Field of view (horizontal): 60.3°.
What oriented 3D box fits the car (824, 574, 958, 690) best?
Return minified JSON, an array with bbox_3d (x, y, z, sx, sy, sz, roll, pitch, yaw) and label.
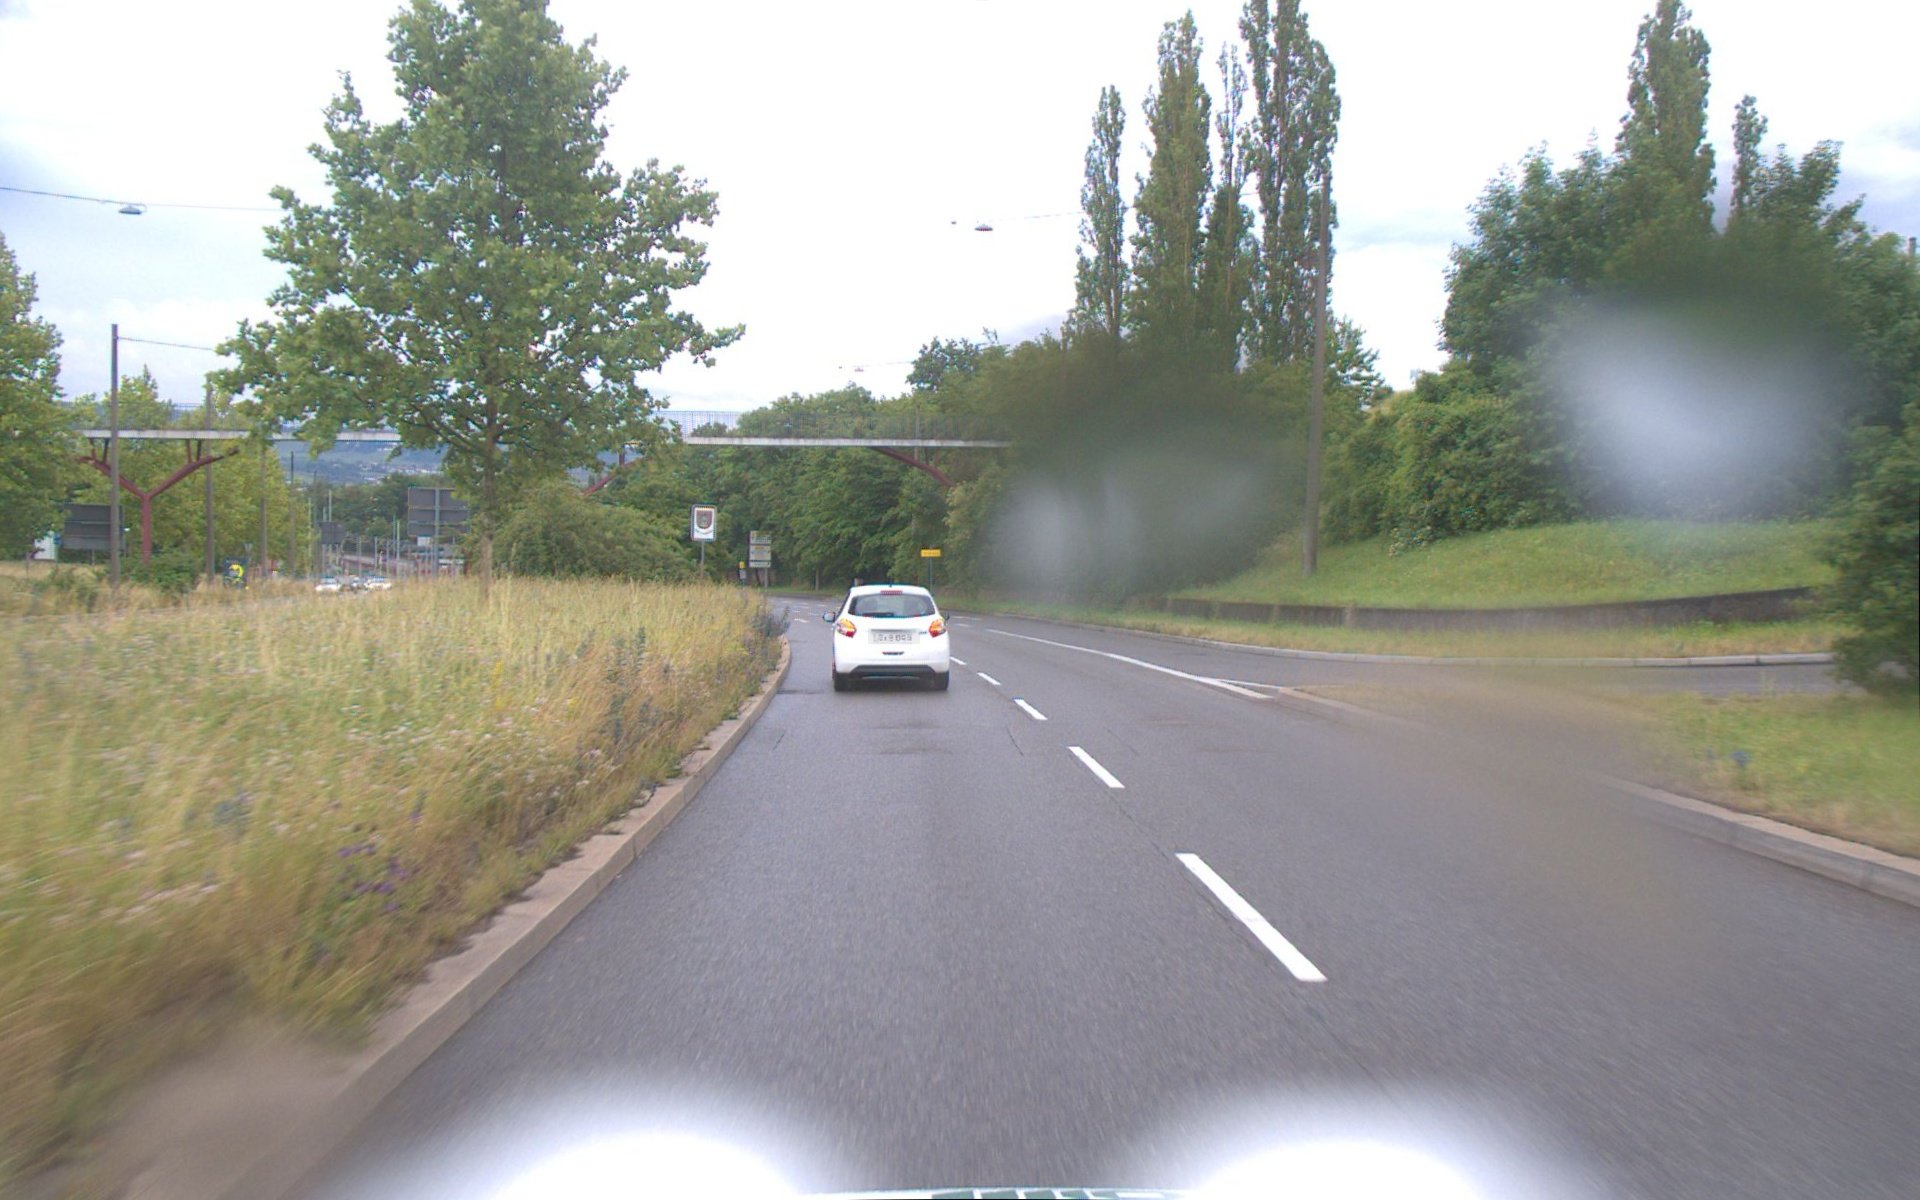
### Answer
[{"bbox_3d":[-1.044,0.418,24.761,1.831,1.537,3.898,1,1,-3],"label":"car"}]
